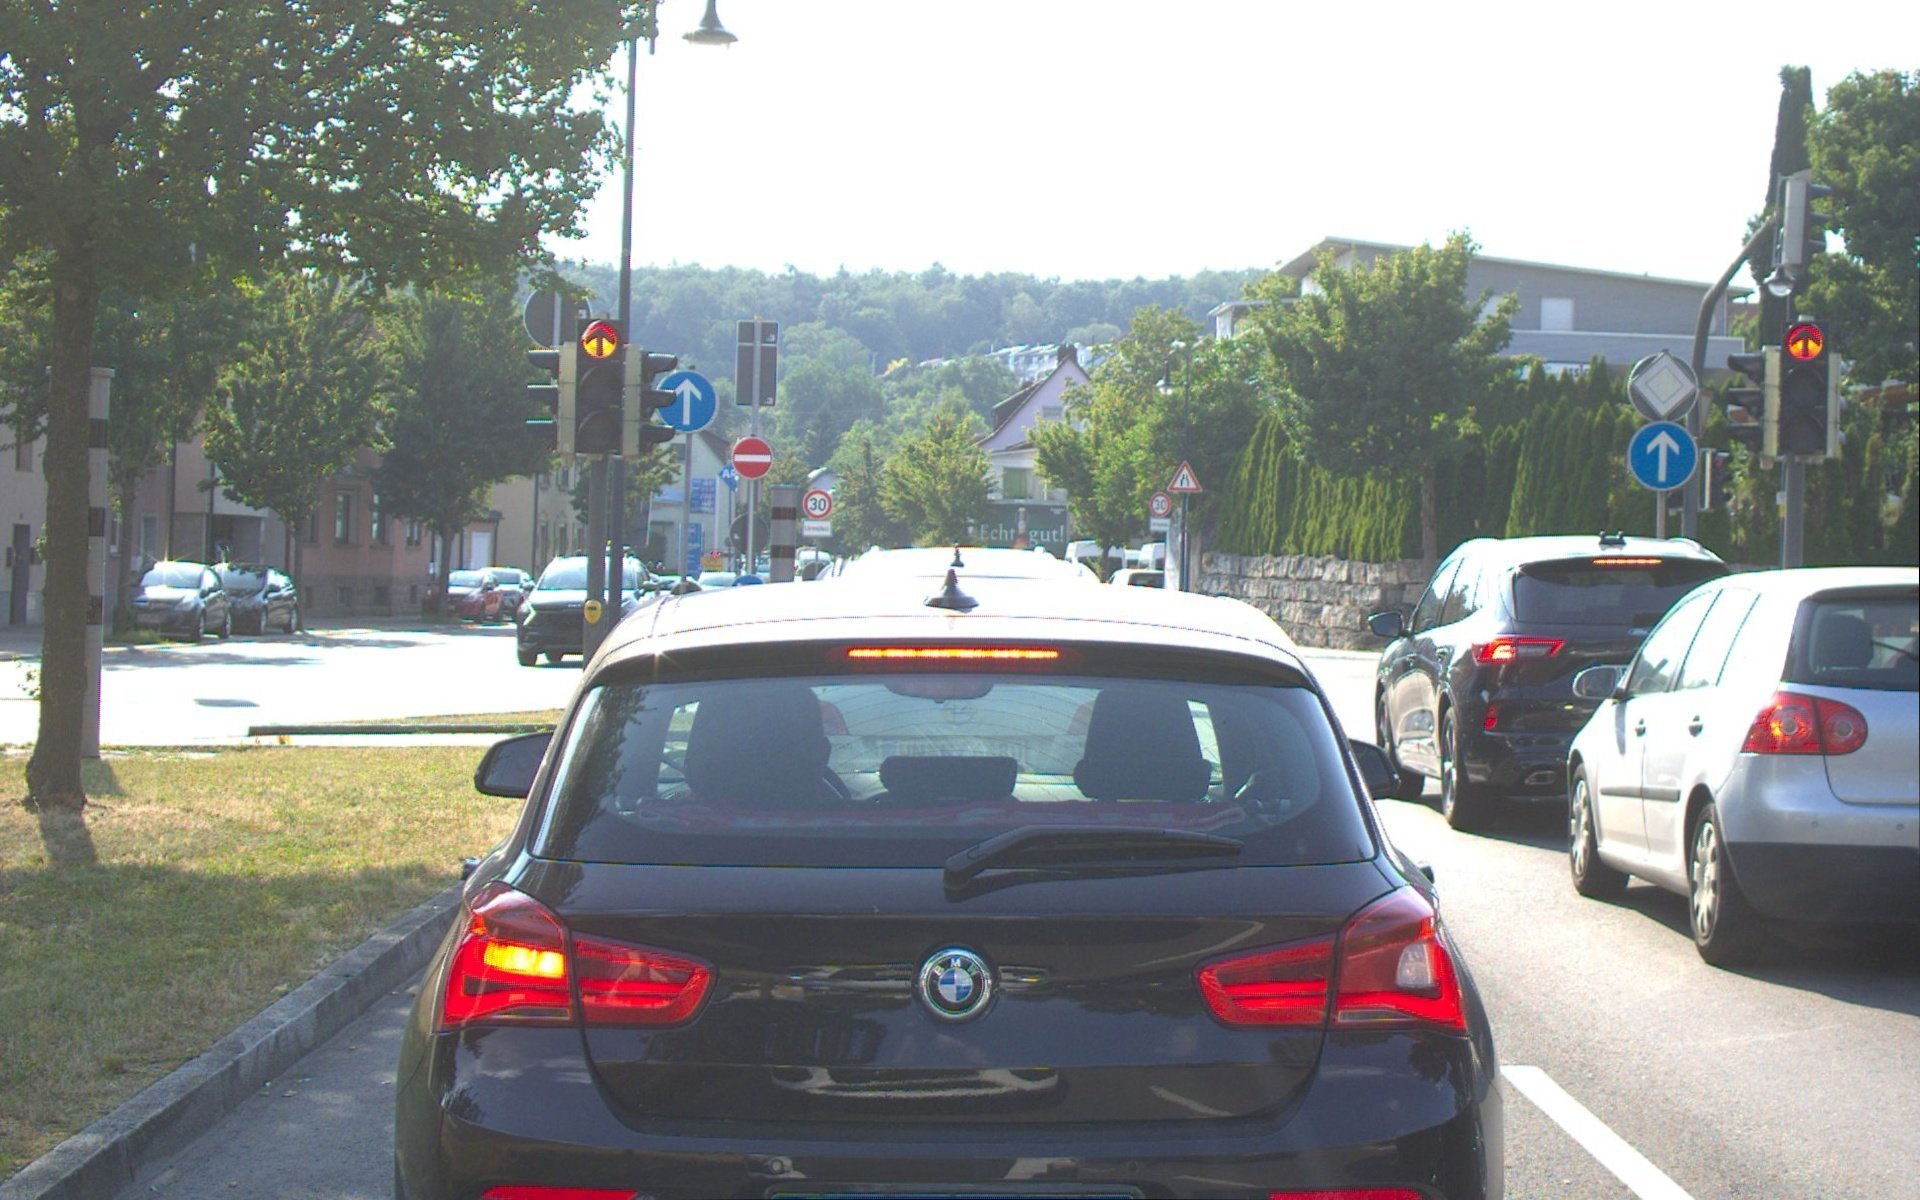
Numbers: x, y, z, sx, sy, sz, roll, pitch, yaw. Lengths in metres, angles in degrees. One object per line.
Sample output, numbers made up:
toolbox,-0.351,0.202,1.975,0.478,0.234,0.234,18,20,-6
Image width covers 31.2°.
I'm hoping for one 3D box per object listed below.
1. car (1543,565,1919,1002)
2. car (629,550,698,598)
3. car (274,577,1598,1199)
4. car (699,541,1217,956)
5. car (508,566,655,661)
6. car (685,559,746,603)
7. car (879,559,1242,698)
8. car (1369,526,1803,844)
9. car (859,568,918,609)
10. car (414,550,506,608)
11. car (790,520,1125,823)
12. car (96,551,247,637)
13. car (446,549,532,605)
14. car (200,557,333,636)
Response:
car,3.581,0.601,13.727,1.816,1.441,4.347,1,1,1
car,-10.221,-0.903,118.762,1.924,1.590,4.000,1,1,1
car,-0.003,0.690,6.845,1.791,1.410,4.347,1,1,1
car,0.026,0.491,14.272,1.816,1.446,4.242,1,1,1
car,-5.694,0.176,52.144,1.693,1.348,4.000,1,1,1
car,-9.248,-0.732,130.466,1.924,1.590,4.000,1,1,1
car,1.105,0.292,39.263,3.997,1.453,1.767,2,1,45
car,3.562,0.414,20.318,1.816,1.660,4.347,1,1,1
car,-2.780,-0.462,132.898,1.861,1.480,4.660,1,1,-6
car,-14.135,-0.614,97.312,1.924,1.590,4.000,1,1,1
car,0.020,0.358,20.958,1.816,1.635,4.242,1,1,1
car,-15.326,-0.141,67.032,1.924,1.590,4.000,1,1,1
car,-14.069,-0.702,102.817,1.924,1.590,4.000,1,1,1
car,-14.750,-0.103,73.300,1.924,1.590,4.000,1,1,1
